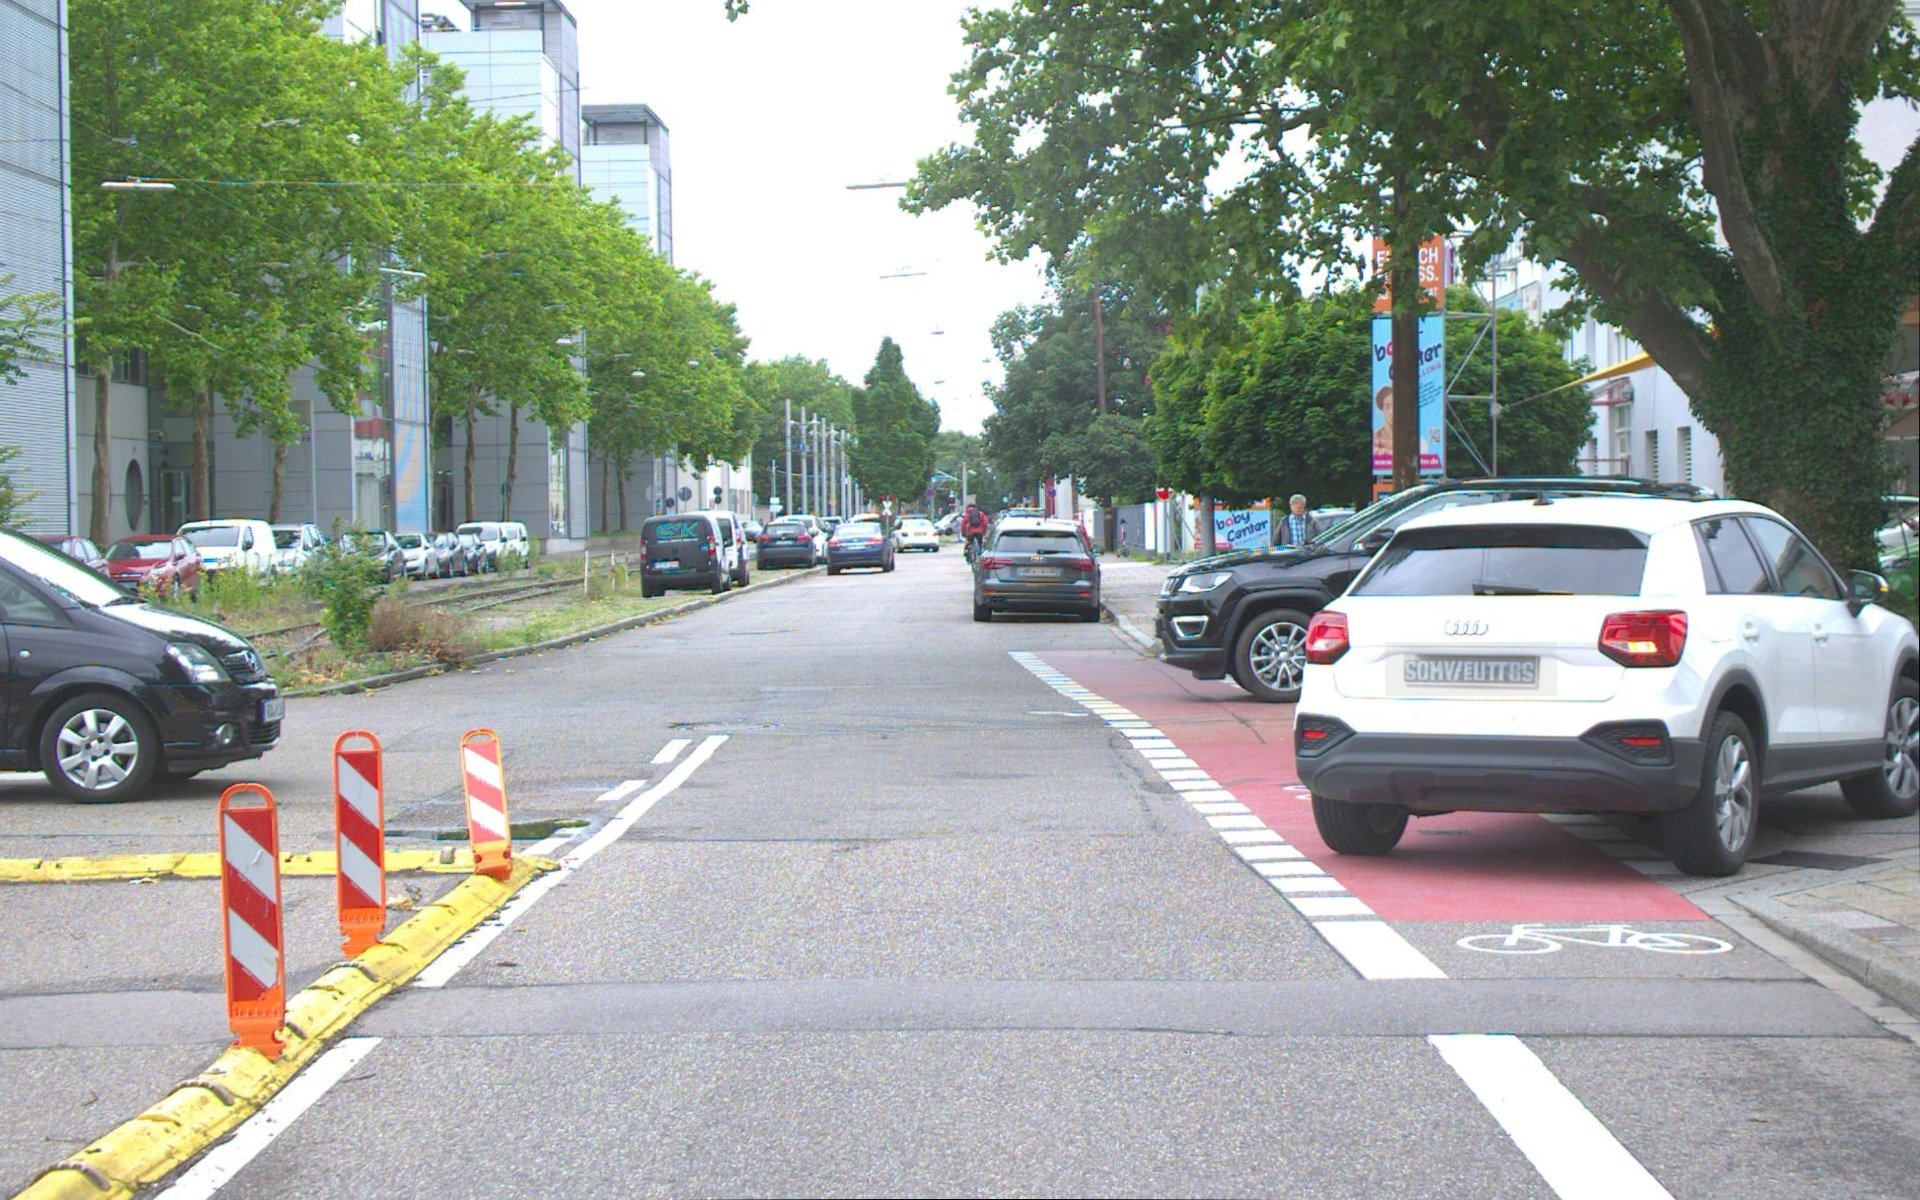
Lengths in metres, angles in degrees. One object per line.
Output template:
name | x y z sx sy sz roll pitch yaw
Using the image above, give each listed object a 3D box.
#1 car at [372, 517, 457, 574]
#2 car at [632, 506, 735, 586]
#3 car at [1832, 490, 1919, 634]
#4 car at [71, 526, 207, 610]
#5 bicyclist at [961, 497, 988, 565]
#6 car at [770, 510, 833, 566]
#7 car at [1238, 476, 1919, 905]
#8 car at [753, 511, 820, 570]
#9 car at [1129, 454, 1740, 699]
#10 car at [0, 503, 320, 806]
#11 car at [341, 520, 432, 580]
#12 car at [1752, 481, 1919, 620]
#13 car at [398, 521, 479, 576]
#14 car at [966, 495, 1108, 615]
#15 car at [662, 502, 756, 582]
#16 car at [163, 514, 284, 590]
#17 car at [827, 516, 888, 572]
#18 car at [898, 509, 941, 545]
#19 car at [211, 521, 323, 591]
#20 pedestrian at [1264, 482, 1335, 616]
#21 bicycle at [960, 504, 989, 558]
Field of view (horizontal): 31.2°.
car | -16.302 -1.654 102.887 1.877 1.627 4.206 -1 2 -1
car | -5.881 -1.182 73.538 1.877 1.627 4.000 -1 2 -1
car | 11.975 -0.471 37.913 4.212 1.546 1.790 -1 1 -2
car | -17.156 -0.695 71.970 1.877 1.627 4.000 -1 2 -1
bicyclist | 0.379 -1.842 91.350 0.670 1.809 0.760 0 2 -2
car | -5.188 -2.039 112.958 1.877 1.757 4.000 -1 2 -1
car | 2.888 0.270 15.122 1.827 1.594 3.769 1 3 31
car | -5.422 -1.870 107.750 1.877 1.757 4.000 -1 2 -1
car | 3.471 -0.191 25.799 4.314 1.671 1.993 -1 1 1
car | -5.619 0.247 18.759 3.883 1.550 1.825 1 1 1
car | -16.244 -1.435 97.598 1.877 1.627 4.206 -1 2 -1
car | 11.569 -0.618 40.063 4.212 1.546 1.790 -1 1 -2
car | -16.339 -1.617 107.848 1.877 1.627 4.206 -1 2 -1
car | 1.076 -0.679 49.680 1.877 1.627 4.000 -1 2 -1
car | -5.758 -1.357 79.351 1.877 1.757 4.000 -1 2 -1
car | -16.856 -1.122 78.878 1.877 1.627 4.206 -1 2 -1
car | -2.935 -1.612 97.493 1.684 1.508 3.706 0 2 -2
car | -1.790 -3.216 151.019 1.795 1.508 3.706 0 2 -2
car | -16.928 -1.096 84.154 1.877 1.627 4.206 -1 2 -1
pedestrian | 4.372 -0.663 44.303 0.760 1.699 0.681 -2 1 -4
bicycle | 0.387 -1.839 91.206 0.670 1.389 2.167 0 2 -2
